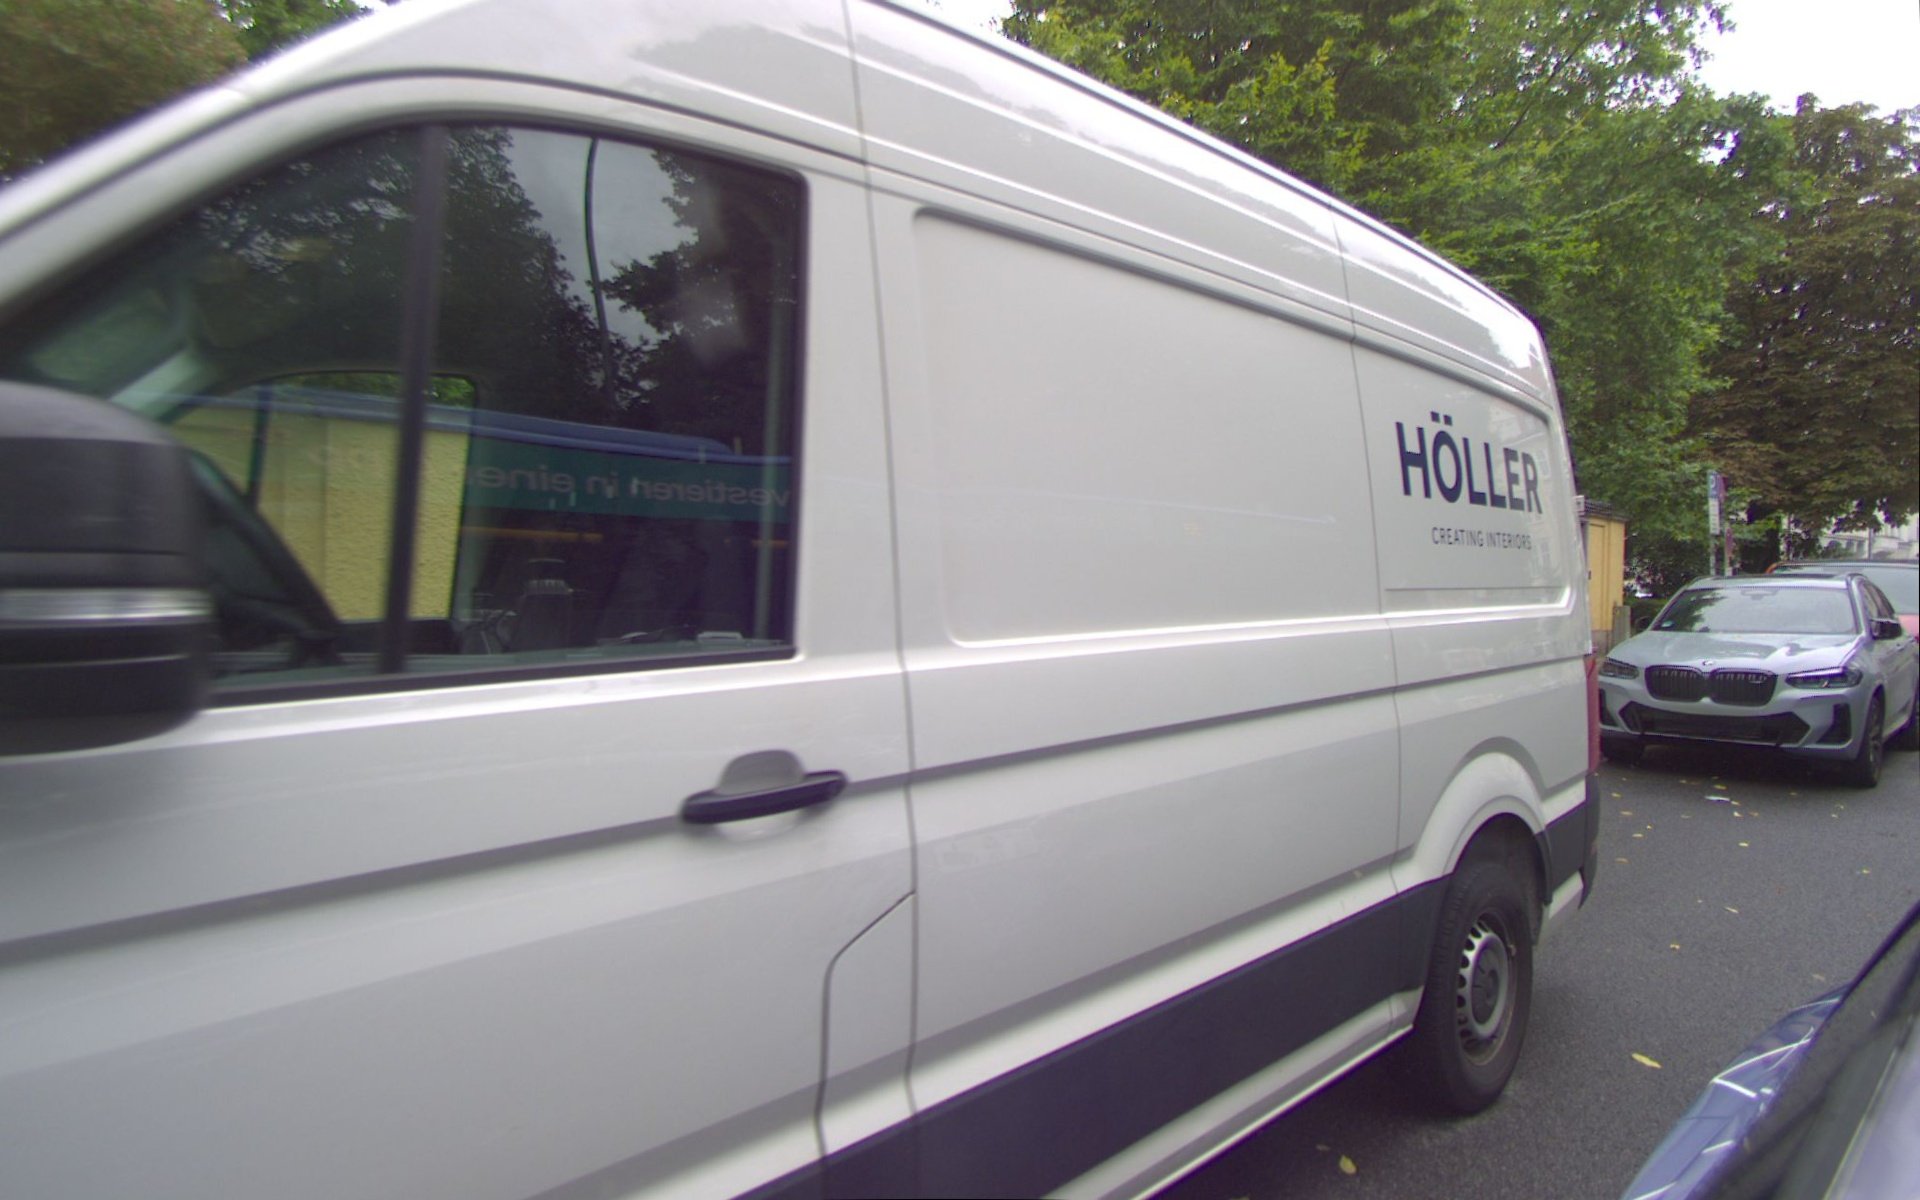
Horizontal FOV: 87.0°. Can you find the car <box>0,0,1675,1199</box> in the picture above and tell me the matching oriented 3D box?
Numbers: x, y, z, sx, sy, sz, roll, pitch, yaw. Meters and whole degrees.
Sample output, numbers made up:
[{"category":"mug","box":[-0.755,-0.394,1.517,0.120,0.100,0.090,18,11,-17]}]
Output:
[{"category":"car","box":[-0.236,0.175,2.551,5.642,2.518,2.099,-2,3,-42]}]

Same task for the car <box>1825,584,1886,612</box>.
[{"category":"car","box":[66.814,-0.206,75.501,4.680,1.936,2.161,-1,3,-33]}]

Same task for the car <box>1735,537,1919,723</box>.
[{"category":"car","box":[11.859,0.294,13.152,5.351,1.992,1.862,0,2,-42]}]

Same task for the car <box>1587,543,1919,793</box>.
[{"category":"car","box":[7.602,0.451,9.338,4.522,1.763,1.862,-1,1,-41]}]

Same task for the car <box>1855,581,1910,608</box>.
[{"category":"car","box":[71.935,-0.421,78.932,4.487,1.962,2.056,-1,3,-33]}]
